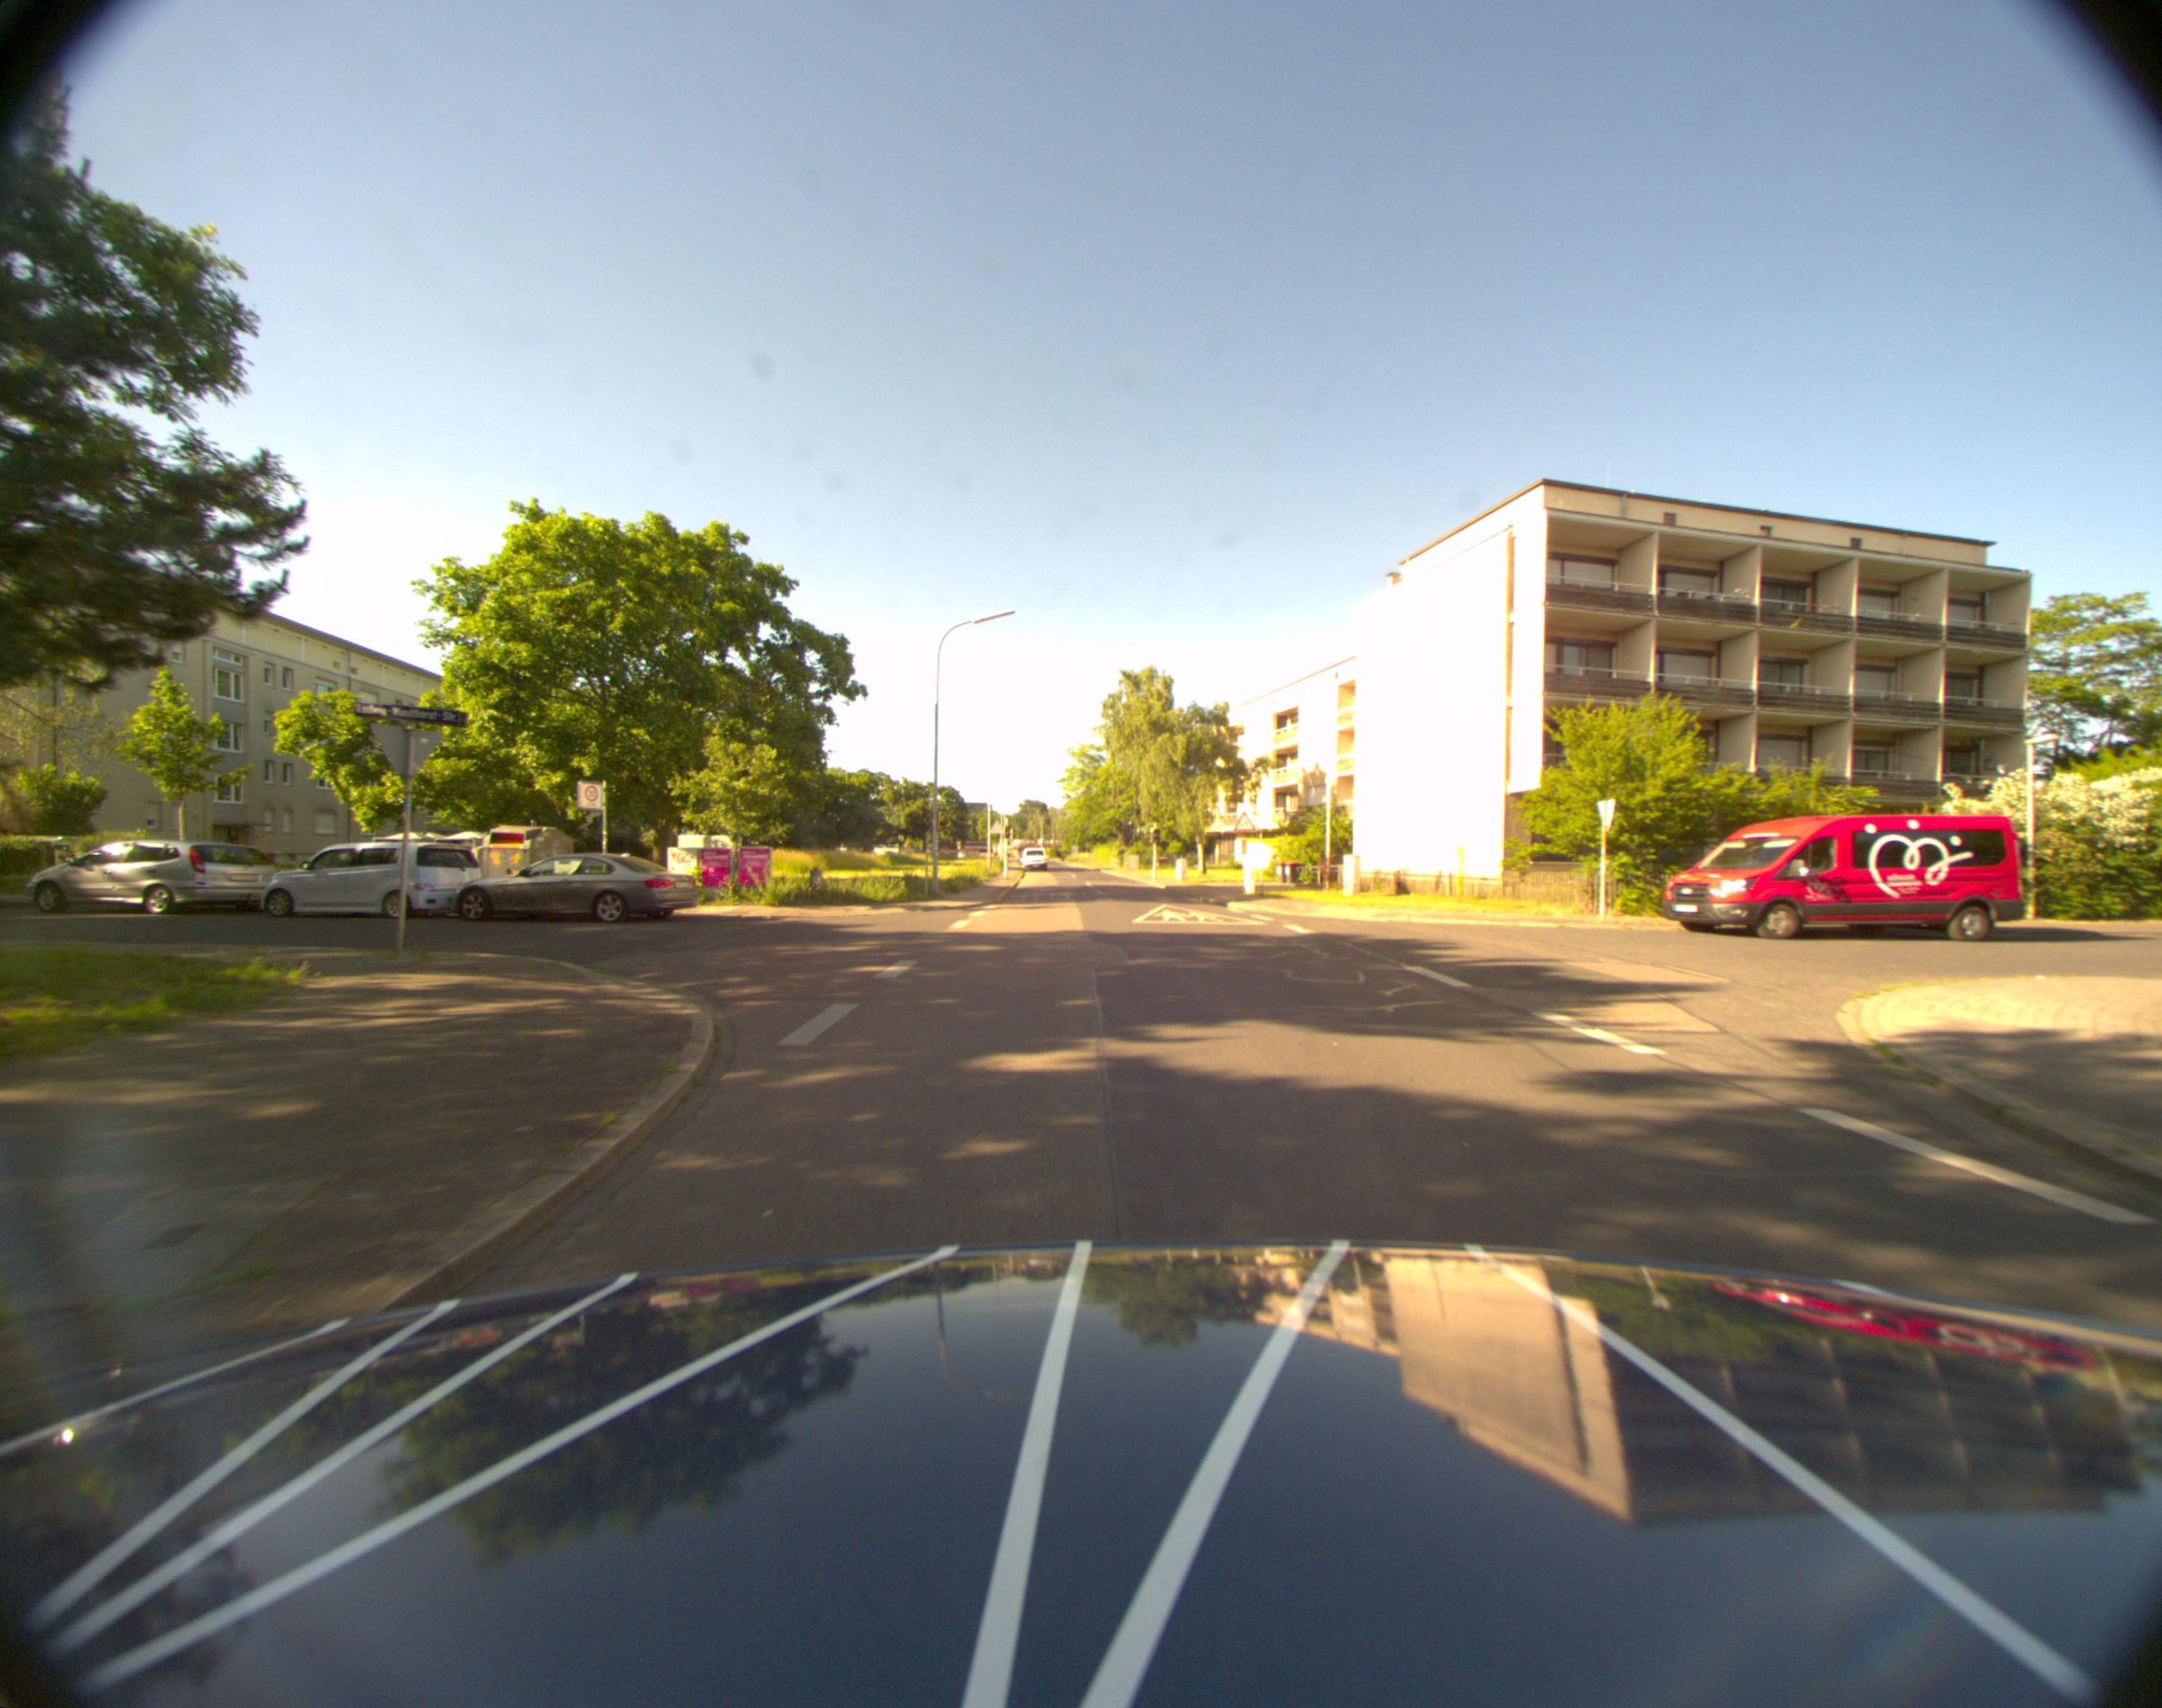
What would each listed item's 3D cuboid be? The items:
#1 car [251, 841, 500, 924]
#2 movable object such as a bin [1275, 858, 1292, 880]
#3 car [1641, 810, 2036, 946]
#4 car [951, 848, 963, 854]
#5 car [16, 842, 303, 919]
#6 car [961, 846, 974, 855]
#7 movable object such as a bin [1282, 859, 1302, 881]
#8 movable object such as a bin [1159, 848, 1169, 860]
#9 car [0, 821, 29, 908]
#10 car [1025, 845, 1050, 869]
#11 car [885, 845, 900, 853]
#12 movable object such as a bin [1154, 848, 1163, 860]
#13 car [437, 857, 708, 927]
[{"bbox_3d":[-14.669,0.546,15.925,3.692,1.569,1.829,1,1,6],"label":"car"},{"bbox_3d":[10.068,0.731,37.752,0.565,1.047,0.556,0,1,-24],"label":"movable object such as a bin"},{"bbox_3d":[15.119,0.482,15.420,5.921,2.414,2.213,1,-1,-2],"label":"car"},{"bbox_3d":[-27.508,-0.612,168.537,1.779,1.316,4.001,1,0,5],"label":"car"},{"bbox_3d":[-19.983,0.542,16.604,4.111,1.532,1.974,1,0,5],"label":"car"},{"bbox_3d":[-25.120,-0.777,168.412,1.955,1.849,4.000,1,0,2],"label":"car"},{"bbox_3d":[10.312,0.798,37.160,0.629,1.042,0.701,0,1,-25],"label":"movable object such as a bin"},{"bbox_3d":[7.186,-0.007,65.708,0.623,1.018,0.710,1,1,-9],"label":"movable object such as a bin"},{"bbox_3d":[-27.244,0.207,17.095,4.512,2.000,2.275,1,1,7],"label":"car"},{"bbox_3d":[-3.580,0.220,62.303,1.921,1.861,4.862,-1,1,-5],"label":"car"},{"bbox_3d":[-42.450,-1.174,171.475,1.954,1.763,4.001,1,2,8],"label":"car"},{"bbox_3d":[6.677,-0.026,65.609,0.623,1.018,0.710,1,1,-9],"label":"movable object such as a bin"},{"bbox_3d":[-10.273,0.741,15.553,4.435,1.329,1.747,0,-1,3],"label":"car"}]
